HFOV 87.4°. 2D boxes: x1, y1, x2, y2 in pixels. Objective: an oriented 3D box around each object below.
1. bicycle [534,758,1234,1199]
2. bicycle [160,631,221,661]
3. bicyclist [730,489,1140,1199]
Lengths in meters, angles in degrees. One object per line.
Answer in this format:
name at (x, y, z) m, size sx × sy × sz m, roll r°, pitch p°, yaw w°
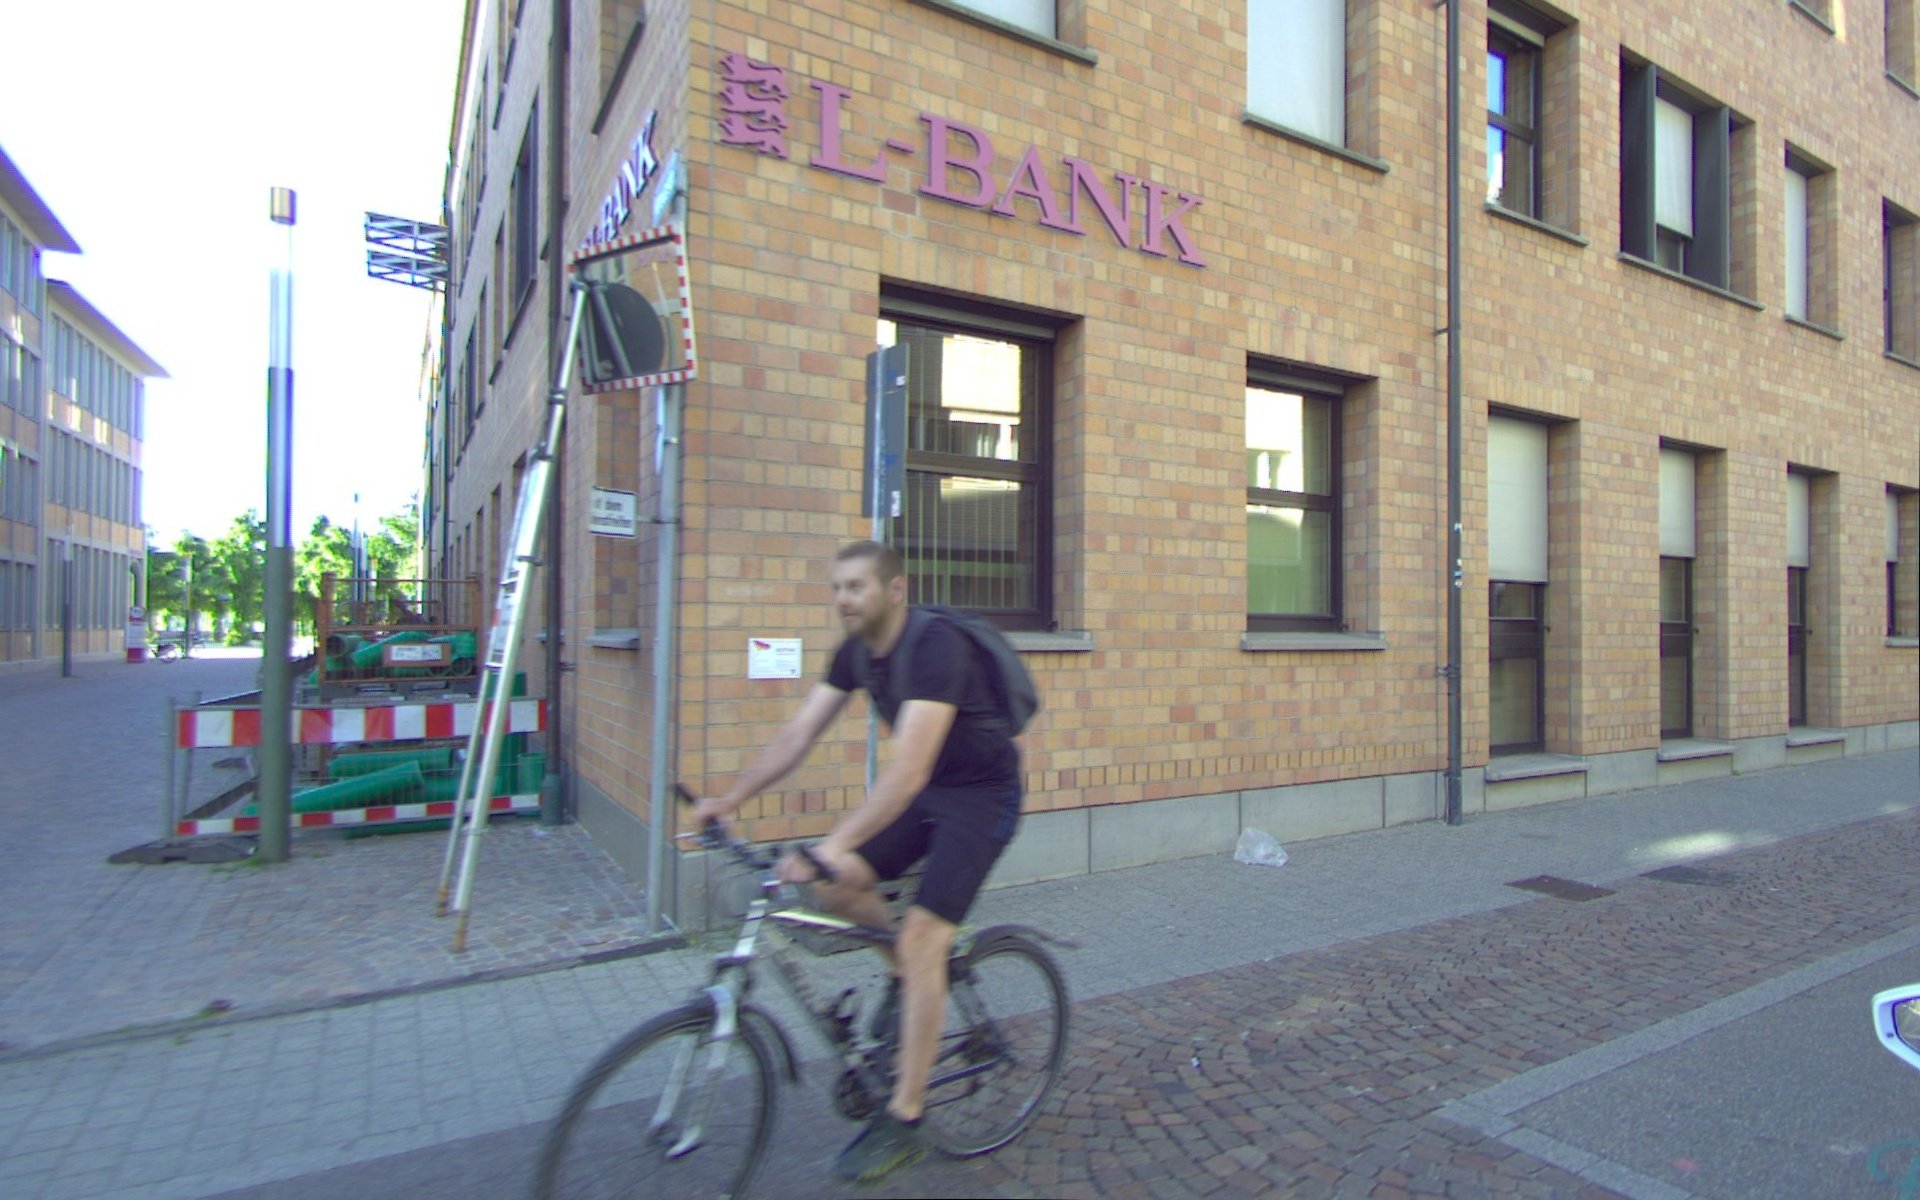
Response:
bicycle at (-0.189, 1.054, 2.657) m, size 1.711 × 1.146 × 0.649 m, roll 1°, pitch -5°, yaw -24°
bicycle at (-33.338, 1.972, 43.551) m, size 0.709 × 1.277 × 2.075 m, roll 0°, pitch -1°, yaw 17°
bicyclist at (-0.103, 0.614, 2.733) m, size 0.913 × 1.663 × 0.661 m, roll 1°, pitch -5°, yaw -24°
